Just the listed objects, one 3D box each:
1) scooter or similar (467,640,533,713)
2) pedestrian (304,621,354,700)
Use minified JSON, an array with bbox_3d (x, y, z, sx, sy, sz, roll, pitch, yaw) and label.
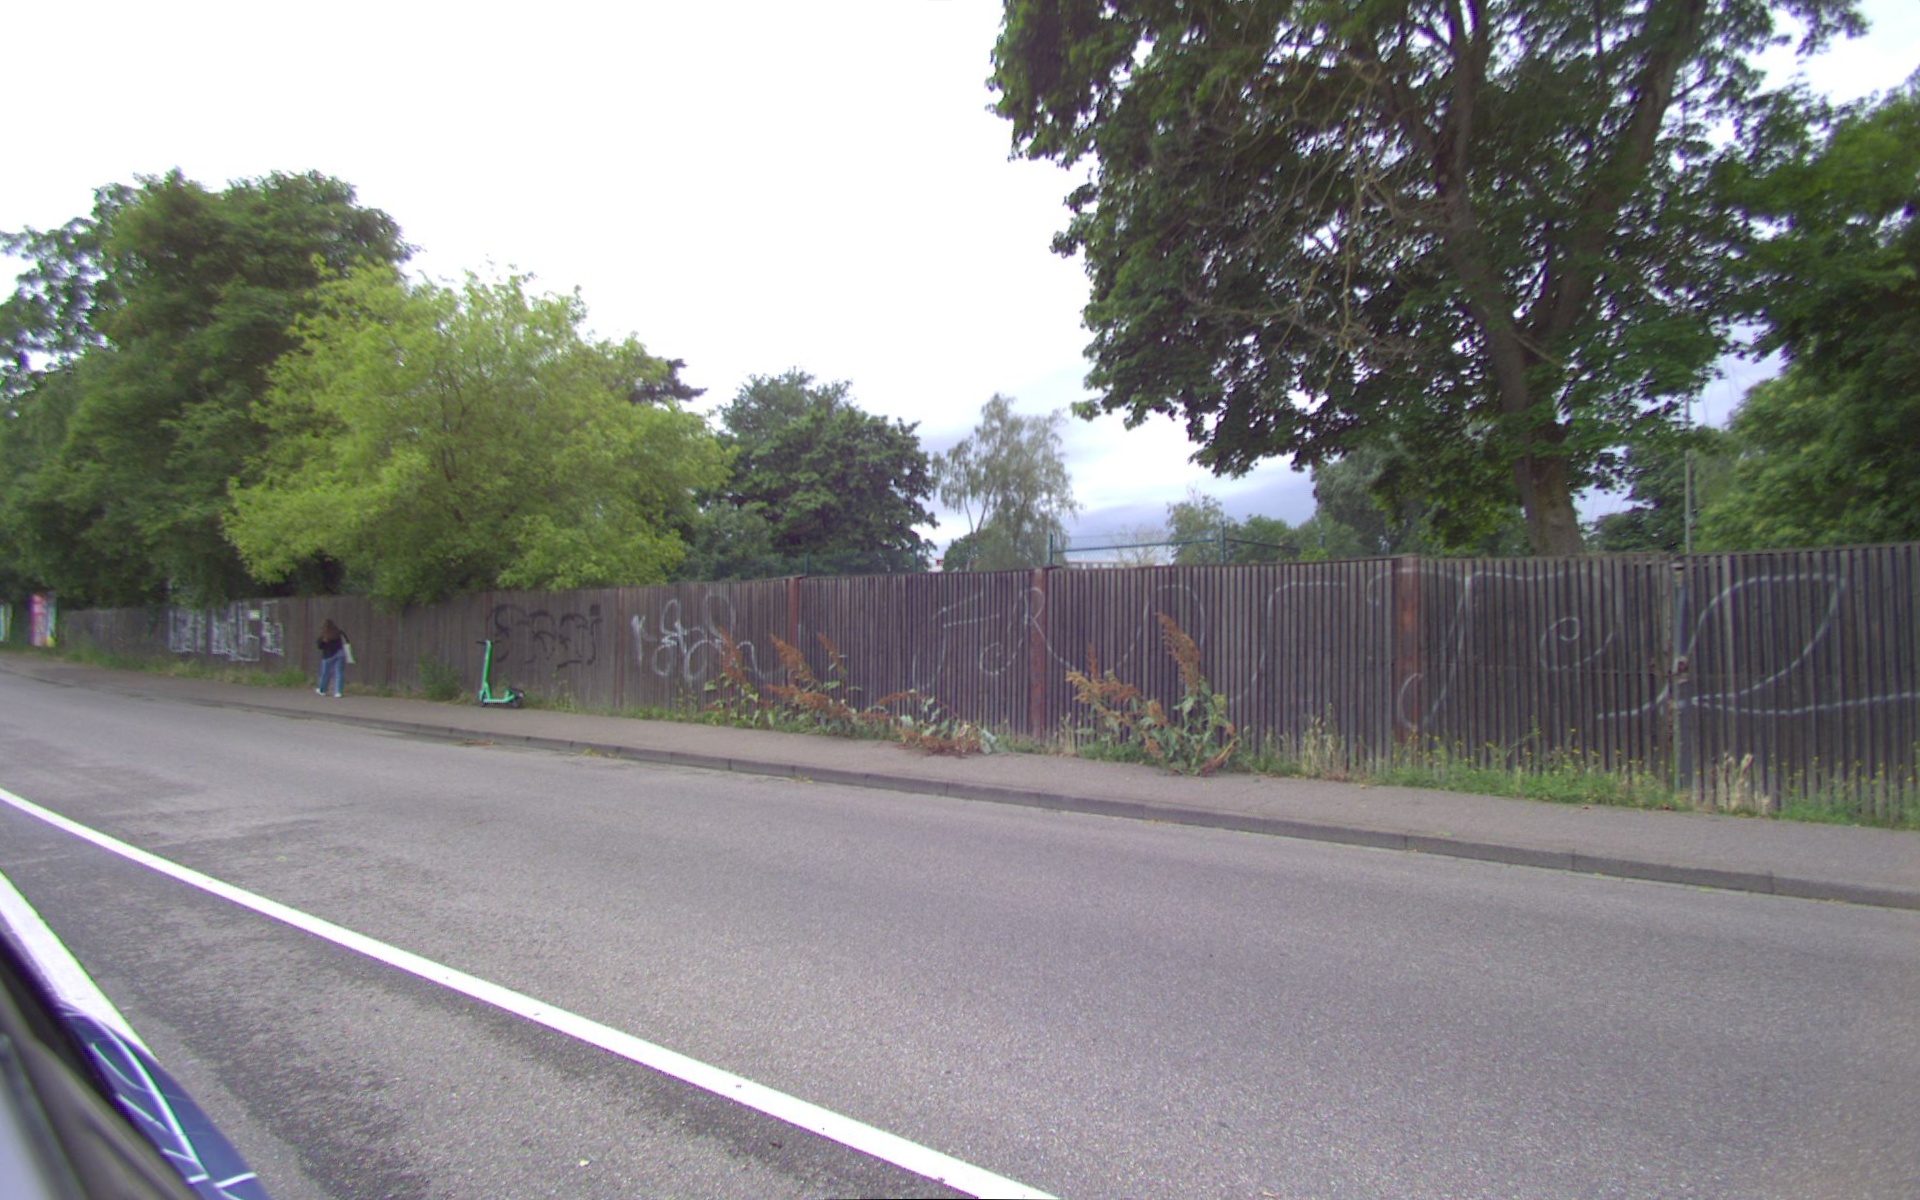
[{"bbox_3d":[-7.812,1.281,17.168,1.301,1.179,0.419,-1,-2,36],"label":"scooter or similar"},{"bbox_3d":[-12.521,1.183,20.094,0.723,1.541,0.606,-2,-2,37],"label":"pedestrian"}]
